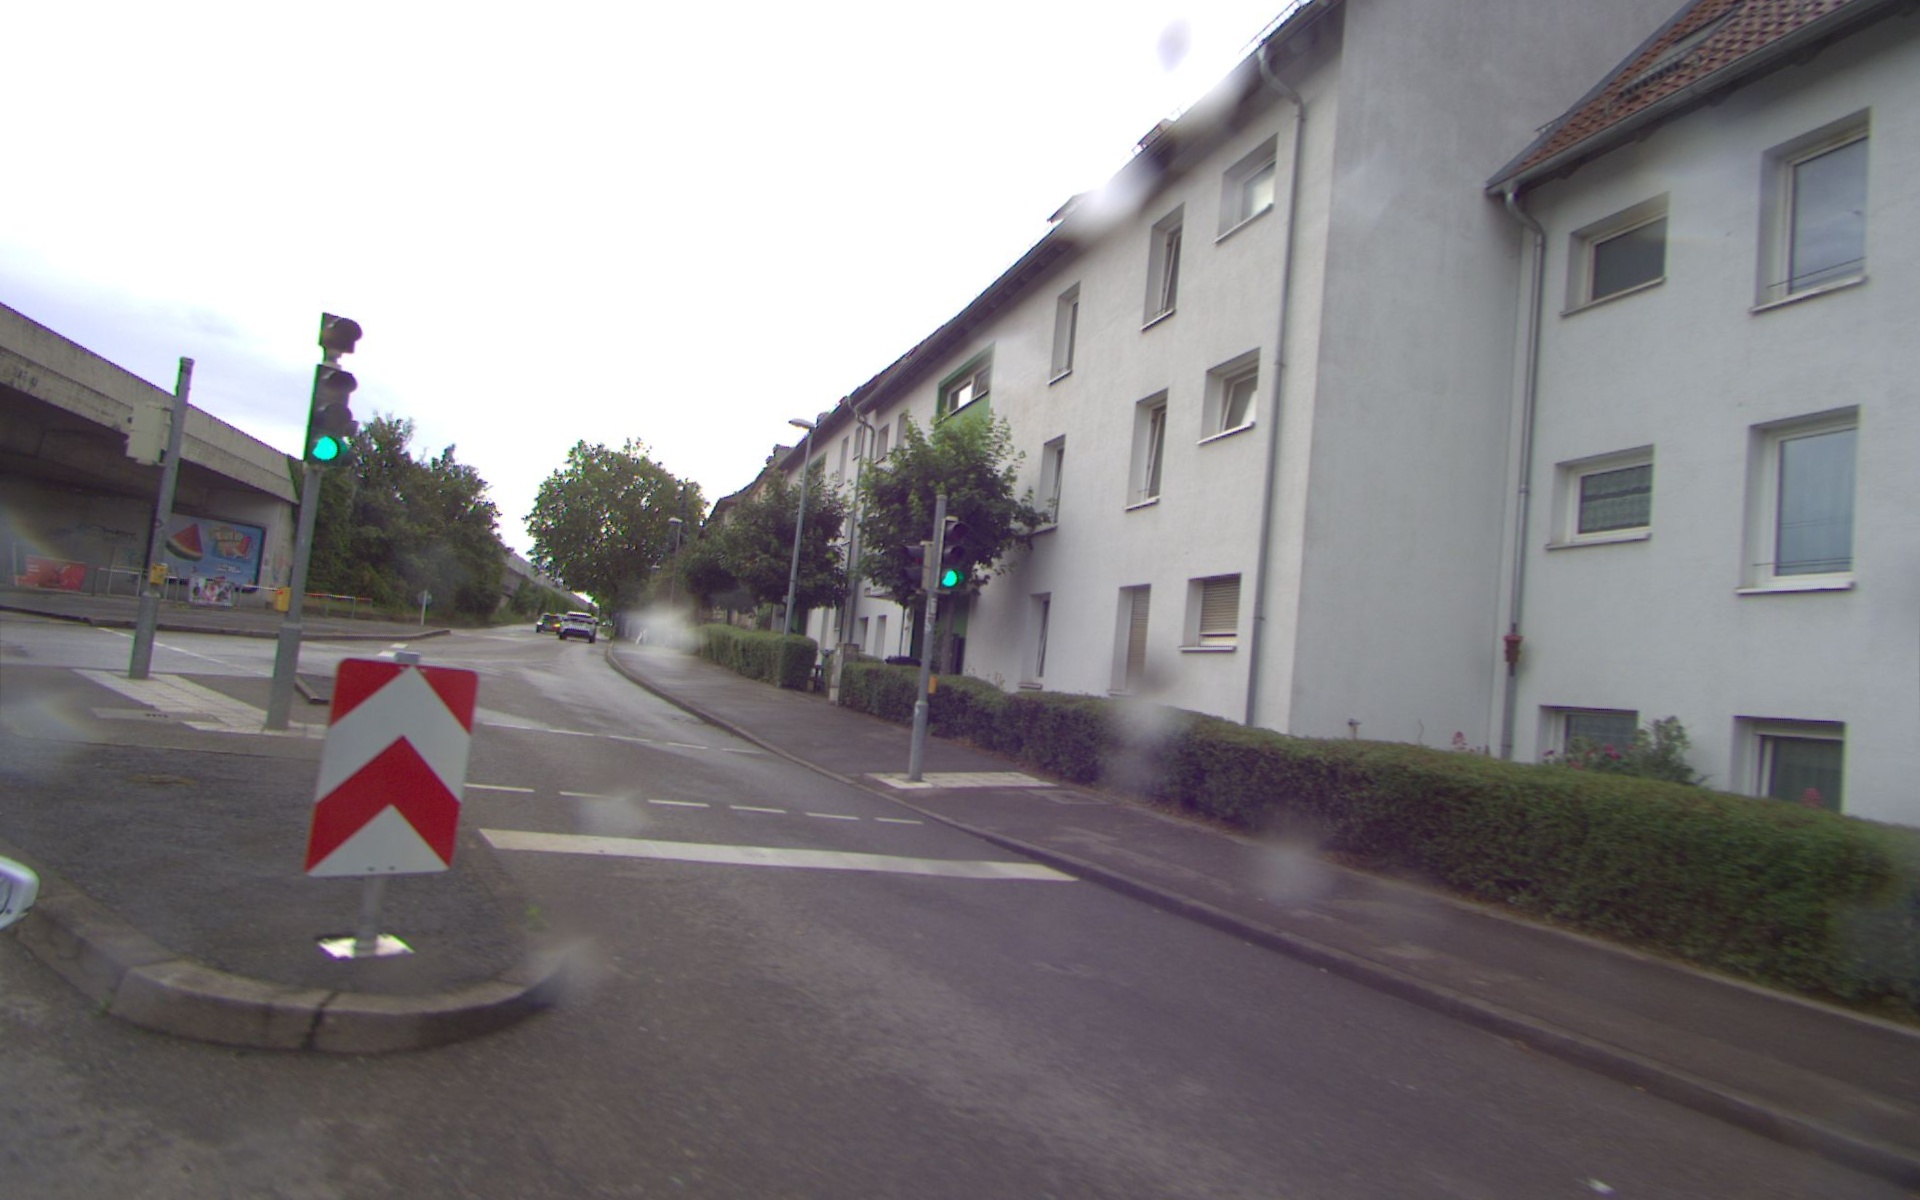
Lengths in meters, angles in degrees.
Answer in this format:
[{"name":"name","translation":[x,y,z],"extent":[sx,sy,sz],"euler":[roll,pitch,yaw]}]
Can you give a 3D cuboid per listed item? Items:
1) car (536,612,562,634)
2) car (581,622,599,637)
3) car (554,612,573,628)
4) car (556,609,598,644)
[{"name":"car","translation":[-33.312,1.898,81.555],"extent":[1.745,1.597,4.219],"euler":[6,-3,-21]},{"name":"car","translation":[-46.428,3.673,126.158],"extent":[1.857,1.546,3.983],"euler":[9,-3,-22]},{"name":"car","translation":[-46.646,2.327,118.302],"extent":[1.857,1.546,3.983],"euler":[9,-3,-22]},{"name":"car","translation":[-20.679,1.429,54.415],"extent":[1.856,1.546,3.986],"euler":[9,-4,-19]}]
